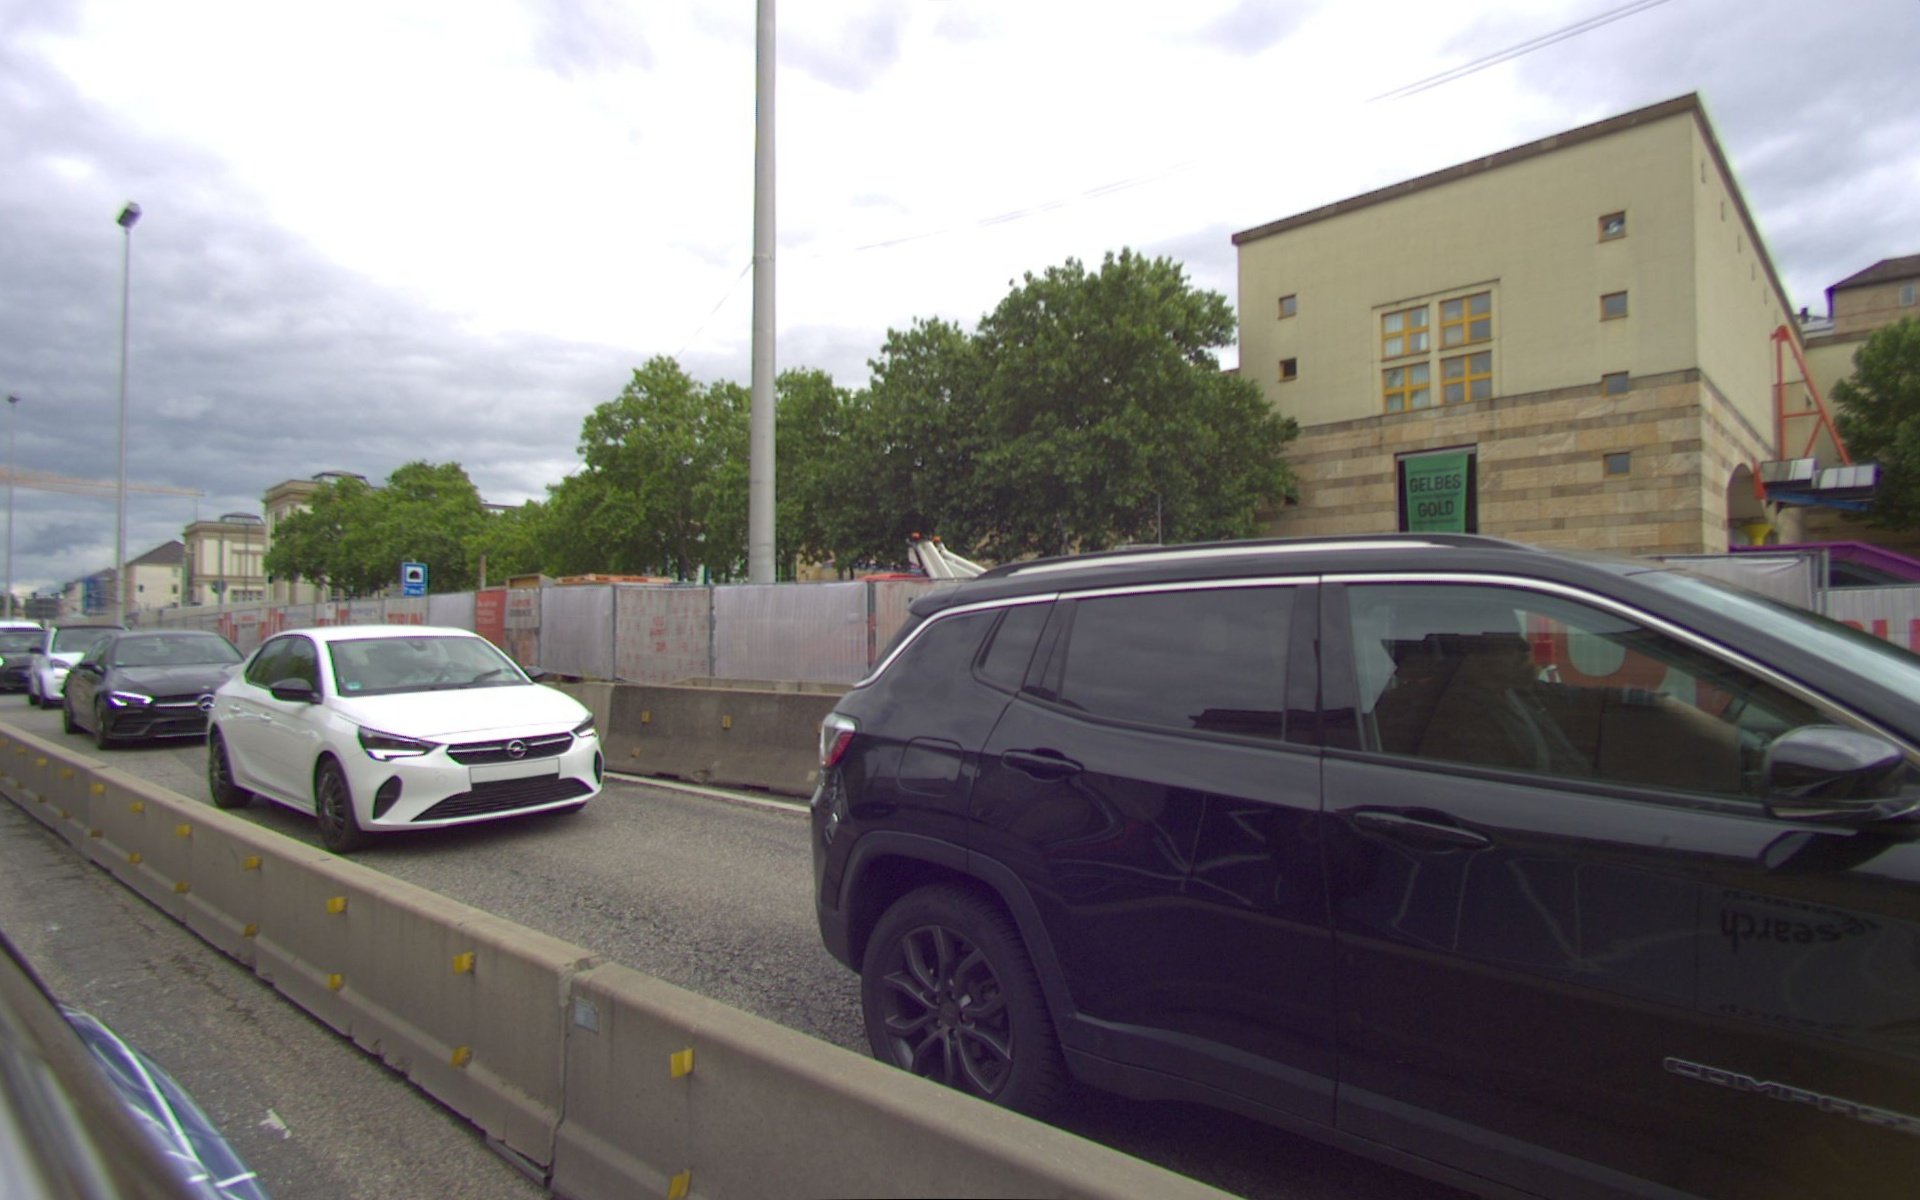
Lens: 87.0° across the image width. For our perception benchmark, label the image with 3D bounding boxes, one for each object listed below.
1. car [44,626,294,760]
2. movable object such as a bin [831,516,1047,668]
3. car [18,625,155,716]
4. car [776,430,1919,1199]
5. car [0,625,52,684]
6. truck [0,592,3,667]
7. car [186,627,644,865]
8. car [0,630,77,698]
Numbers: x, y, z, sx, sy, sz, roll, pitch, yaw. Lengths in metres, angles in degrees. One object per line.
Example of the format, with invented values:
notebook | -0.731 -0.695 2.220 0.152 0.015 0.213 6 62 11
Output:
car | -10.587 1.095 13.408 4.564 1.426 1.834 -2 0 42
movable object such as a bin | -0.389 -0.073 16.270 3.290 2.202 1.506 -2 -2 40
car | -16.793 1.280 19.423 3.001 1.566 1.613 -2 -1 42
car | 1.556 0.574 2.472 4.042 1.633 1.758 -1 -1 39
car | -30.272 1.682 32.015 4.479 1.774 1.818 -2 -2 42
truck | -39.636 1.152 39.478 7.256 2.795 2.938 -2 -2 44
car | -4.273 0.881 7.684 3.931 1.306 1.709 -1 -1 39
car | -22.212 1.456 23.861 3.934 1.450 1.630 -2 -1 42
